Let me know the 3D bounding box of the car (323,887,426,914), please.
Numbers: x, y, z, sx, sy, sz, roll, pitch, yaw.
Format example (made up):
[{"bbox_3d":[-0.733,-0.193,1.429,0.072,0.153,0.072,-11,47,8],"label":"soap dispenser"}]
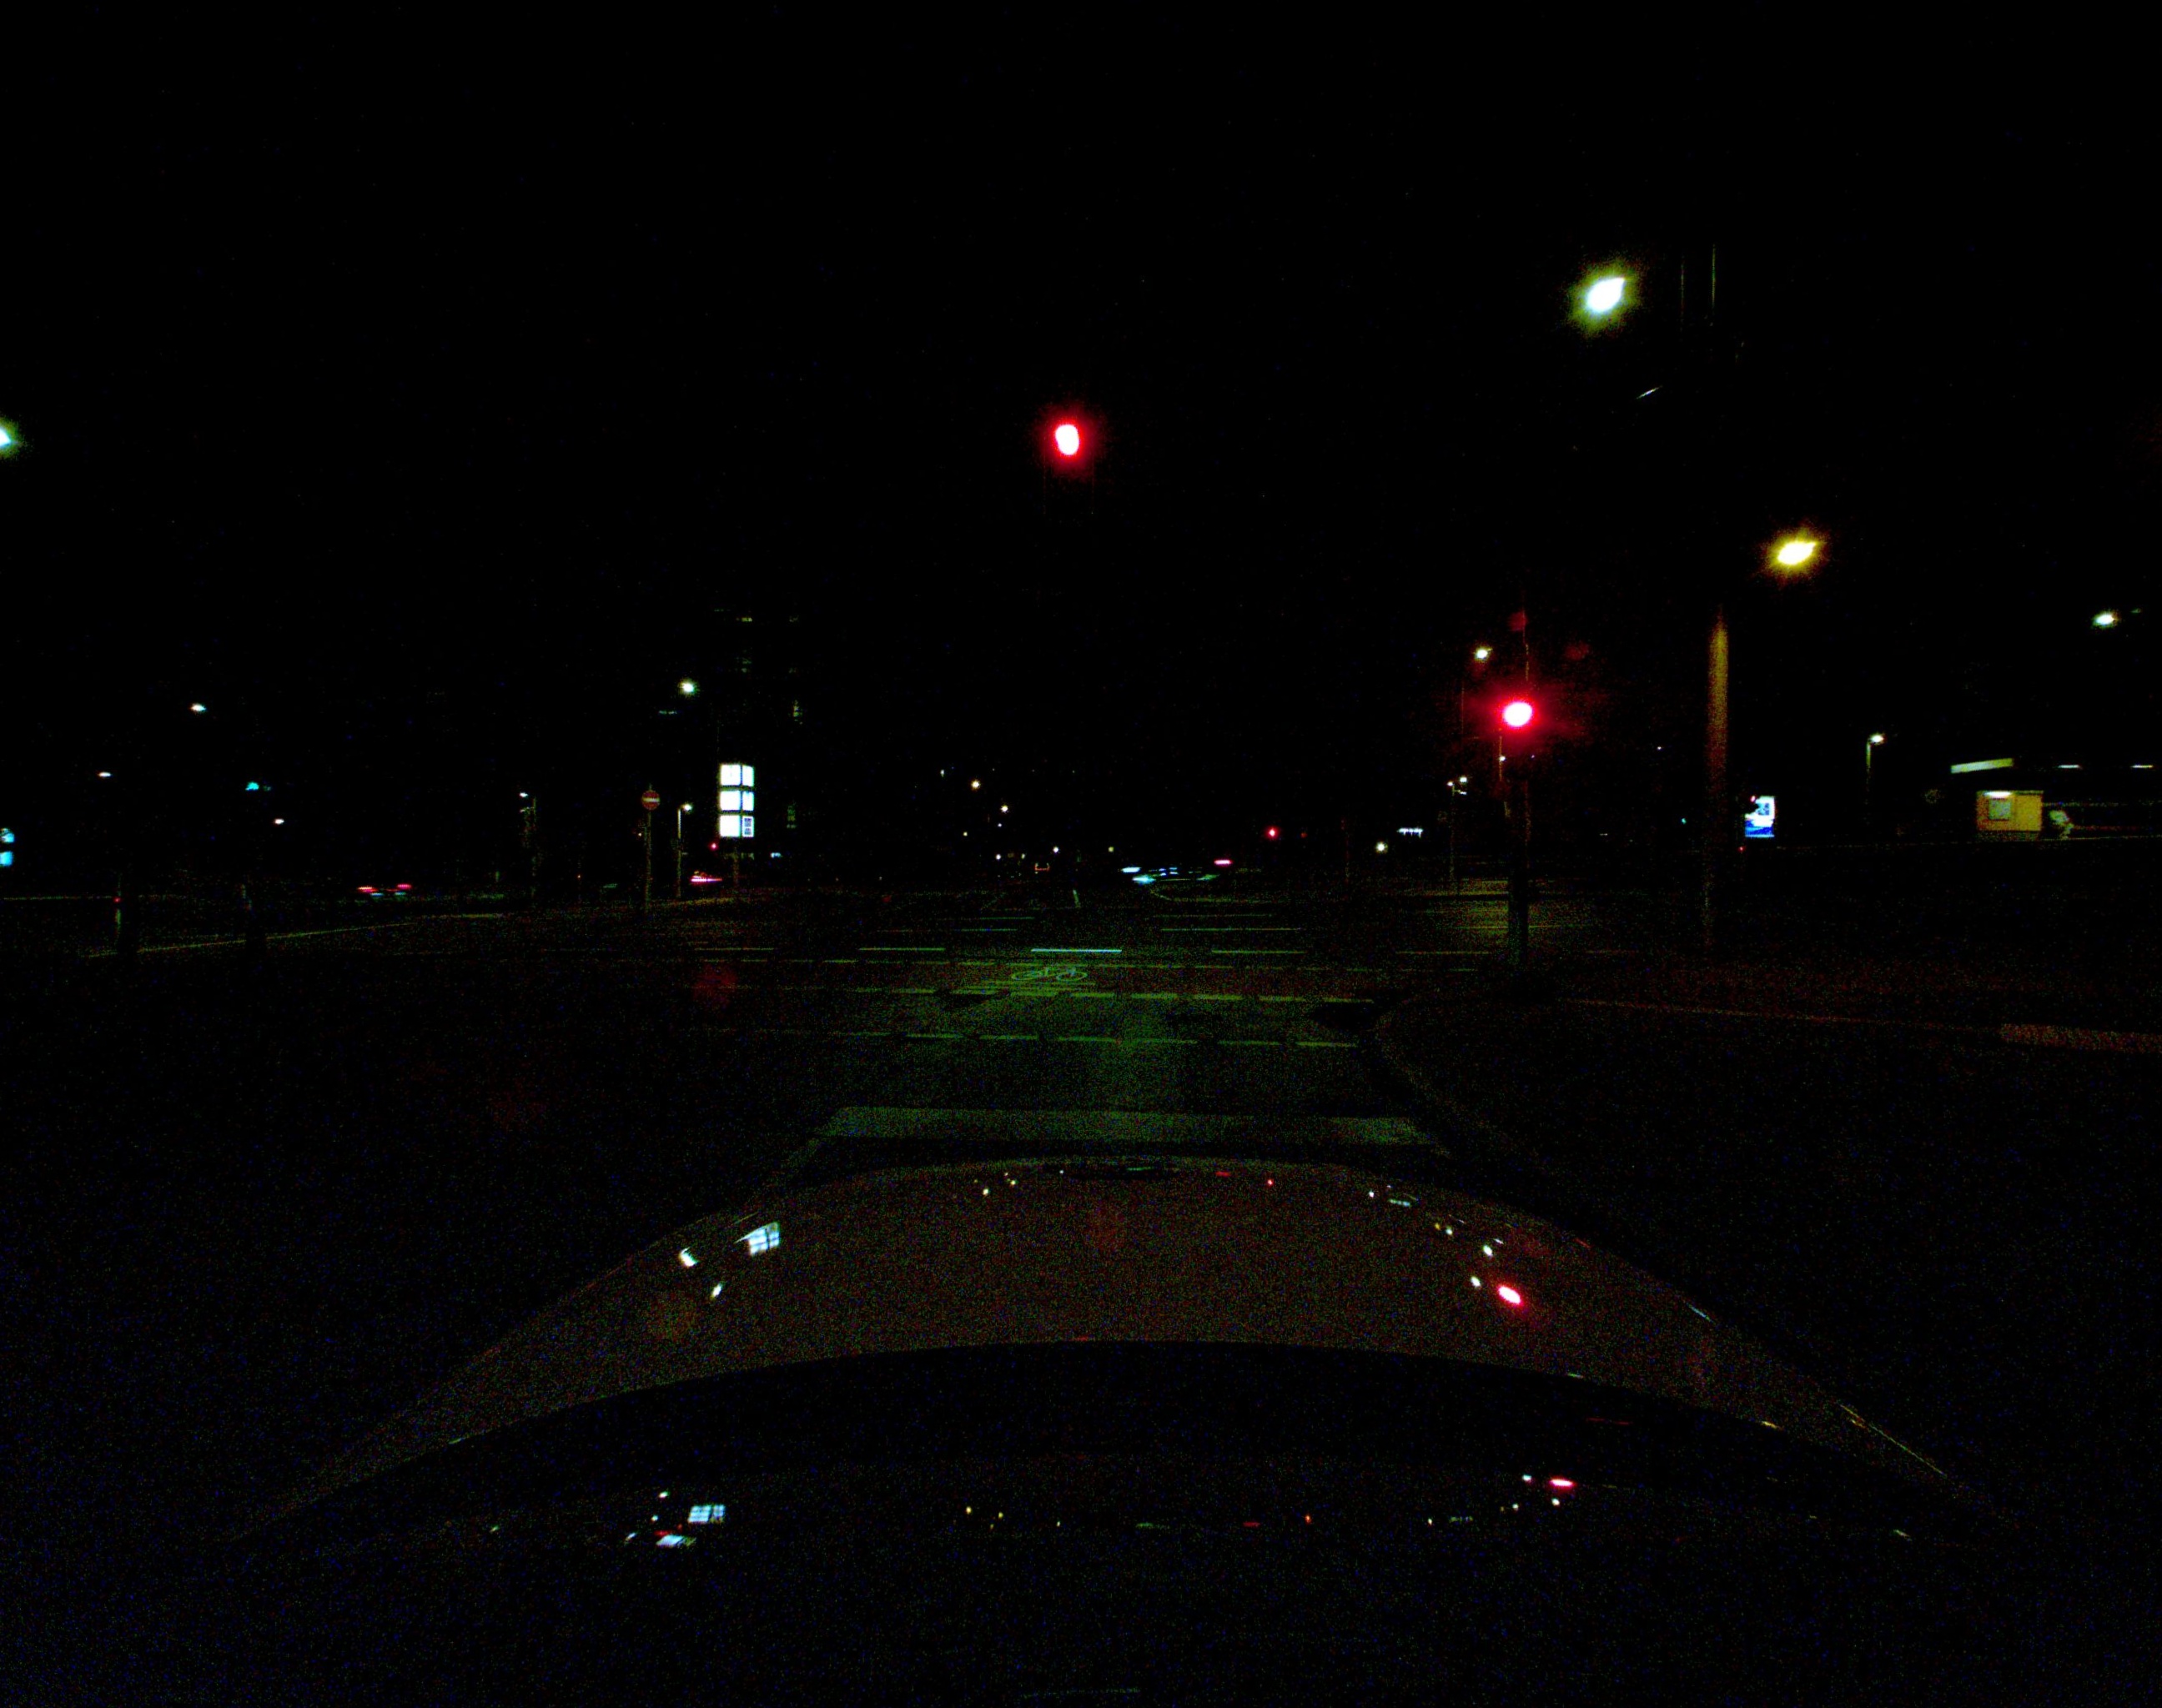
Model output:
[{"bbox_3d":[-38.591,2.530,44.556,3.971,1.387,1.866,0,-1,2],"label":"car"}]

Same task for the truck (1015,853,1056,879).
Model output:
[{"bbox_3d":[-8.556,2.230,151.646,4.835,4.547,12.591,0,-1,-17],"label":"truck"}]

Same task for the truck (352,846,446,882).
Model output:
[{"bbox_3d":[-59.719,0.881,71.419,5.873,3.088,2.915,0,-1,3],"label":"truck"}]

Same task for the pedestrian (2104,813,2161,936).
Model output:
[{"bbox_3d":[15.739,0.285,11.739,0.752,1.745,0.834,-3,-3,1],"label":"pedestrian"}]

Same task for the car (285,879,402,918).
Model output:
[{"bbox_3d":[-36.756,2.202,40.644,4.137,1.813,1.843,0,-1,1],"label":"car"}]

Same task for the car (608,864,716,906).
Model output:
[{"bbox_3d":[-20.166,1.472,39.296,4.163,1.975,2.002,0,-1,4],"label":"car"}]

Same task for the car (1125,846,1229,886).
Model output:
[{"bbox_3d":[4.346,0.549,37.267,4.595,1.728,2.003,0,-1,5],"label":"car"}]

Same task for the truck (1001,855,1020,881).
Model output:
[{"bbox_3d":[-10.453,1.963,119.702,2.580,3.707,5.723,0,-1,-7],"label":"truck"}]

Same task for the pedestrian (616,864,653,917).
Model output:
[{"bbox_3d":[-13.910,1.127,25.391,0.667,1.634,0.862,0,-1,-3],"label":"pedestrian"}]
